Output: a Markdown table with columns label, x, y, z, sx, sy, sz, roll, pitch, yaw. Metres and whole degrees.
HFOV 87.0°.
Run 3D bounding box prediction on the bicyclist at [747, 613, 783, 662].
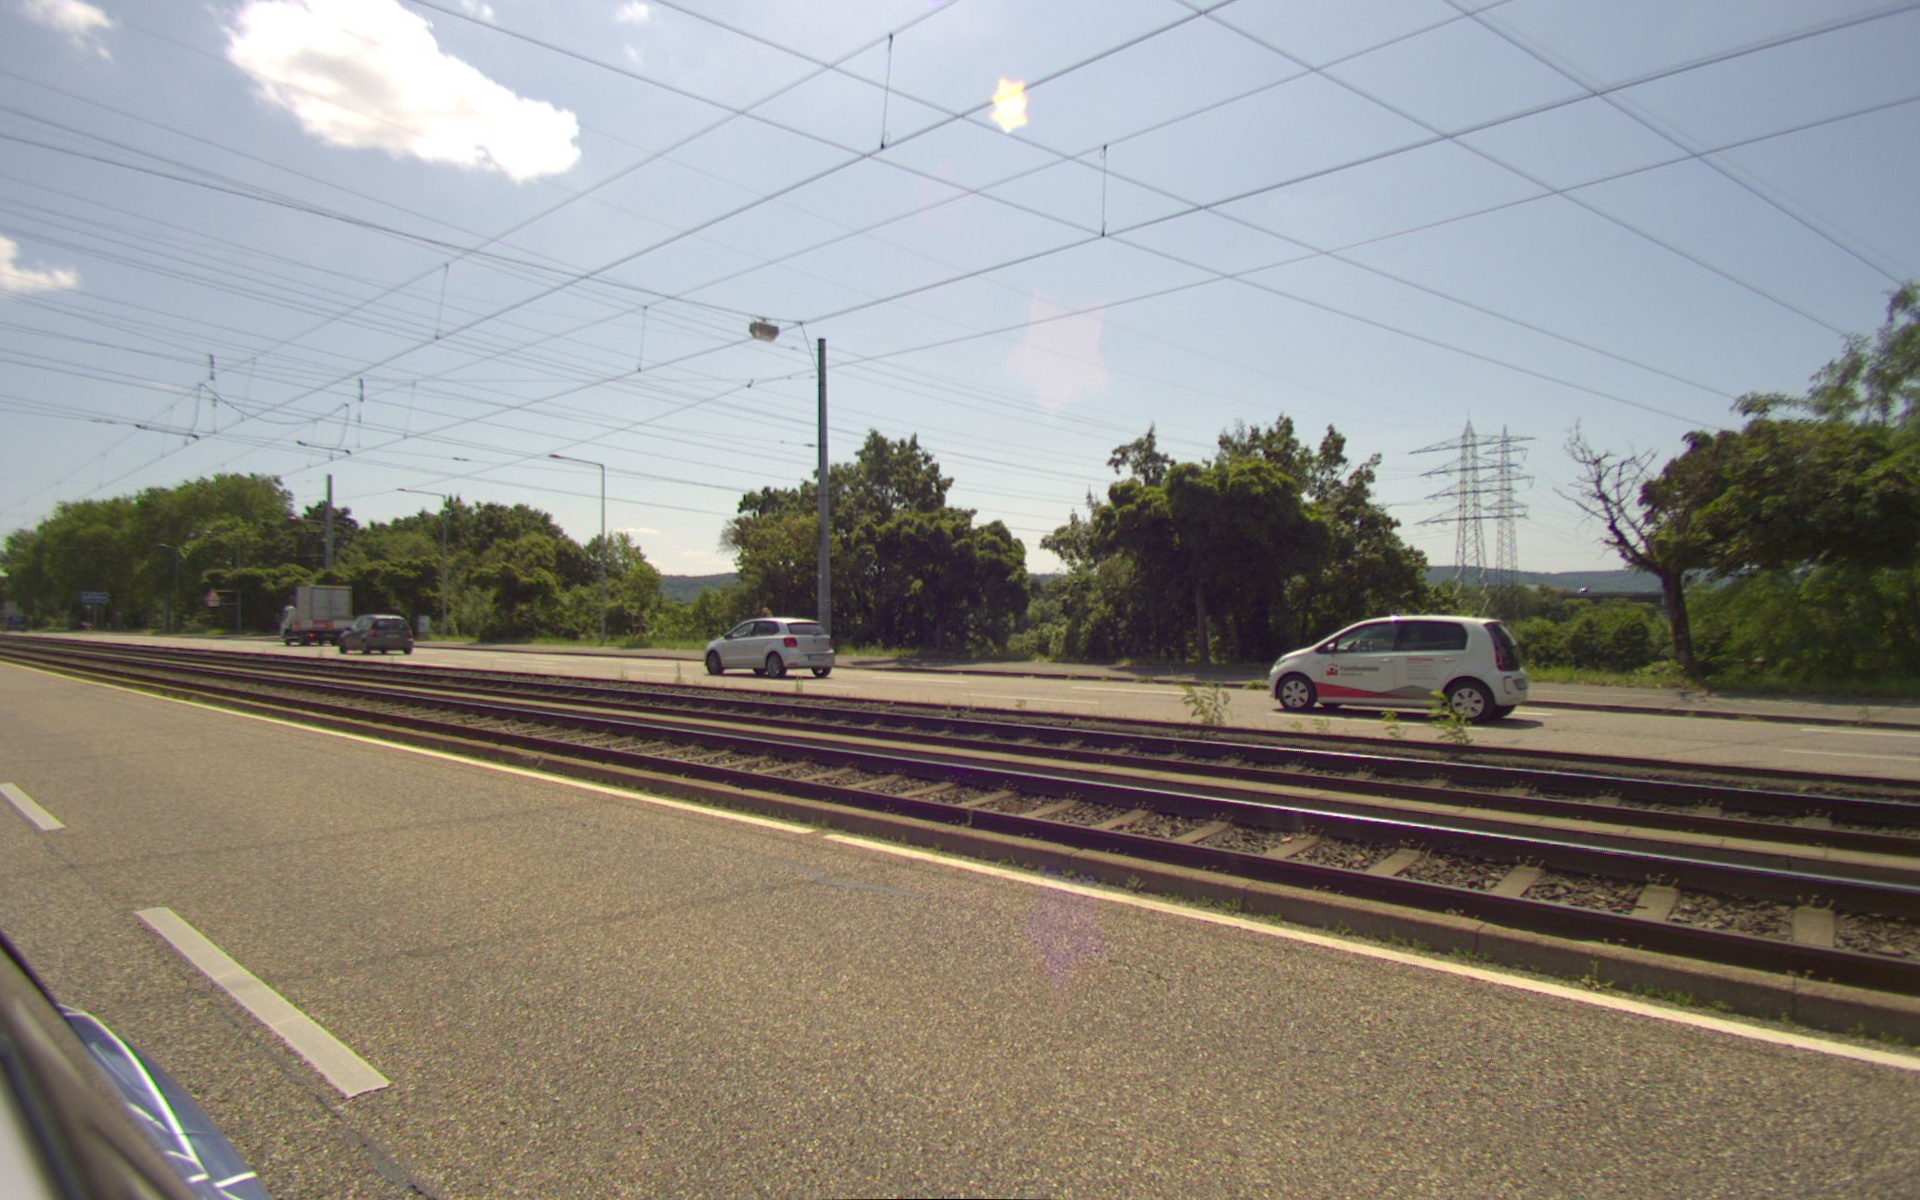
| label | x | y | z | sx | sy | sz | roll | pitch | yaw |
| --- | --- | --- | --- | --- | --- | --- | --- | --- | --- |
| bicyclist | -6.661 | 1.275 | 34.503 | 1.156 | 1.632 | 0.643 | -2 | 0 | 45 |

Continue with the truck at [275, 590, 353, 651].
| label | x | y | z | sx | sy | sz | roll | pitch | yaw |
| --- | --- | --- | --- | --- | --- | --- | --- | --- | --- |
| truck | -36.498 | 1.167 | 57.100 | 6.041 | 3.261 | 2.225 | -2 | -2 | 43 |

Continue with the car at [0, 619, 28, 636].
| label | x | y | z | sx | sy | sz | roll | pitch | yaw |
| --- | --- | --- | --- | --- | --- | --- | --- | --- | --- |
| car | -111.307 | 3.235 | 119.088 | 5.005 | 1.942 | 1.838 | -2 | -3 | 41 |

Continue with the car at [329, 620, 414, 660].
| label | x | y | z | sx | sy | sz | roll | pitch | yaw |
| --- | --- | --- | --- | --- | --- | --- | --- | --- | --- |
| car | -23.934 | 1.609 | 41.094 | 3.954 | 1.547 | 1.734 | -1 | -3 | 40 |

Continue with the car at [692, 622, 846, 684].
| label | x | y | z | sx | sy | sz | roll | pitch | yaw |
| --- | --- | --- | --- | --- | --- | --- | --- | --- | --- |
| car | -4.841 | 1.293 | 25.293 | 4.126 | 1.432 | 1.619 | -2 | -3 | 42 |

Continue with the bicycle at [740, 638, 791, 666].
| label | x | y | z | sx | sy | sz | roll | pitch | yaw |
| --- | --- | --- | --- | --- | --- | --- | --- | --- | --- |
| bicycle | -6.645 | 1.765 | 34.493 | 0.643 | 0.866 | 2.121 | -1 | 0 | -45 |

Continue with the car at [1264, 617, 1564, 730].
| label | x | y | z | sx | sy | sz | roll | pitch | yaw |
| --- | --- | --- | --- | --- | --- | --- | --- | --- | --- |
| car | 6.582 | 1.007 | 14.874 | 3.719 | 1.447 | 1.620 | -1 | -3 | 41 |
